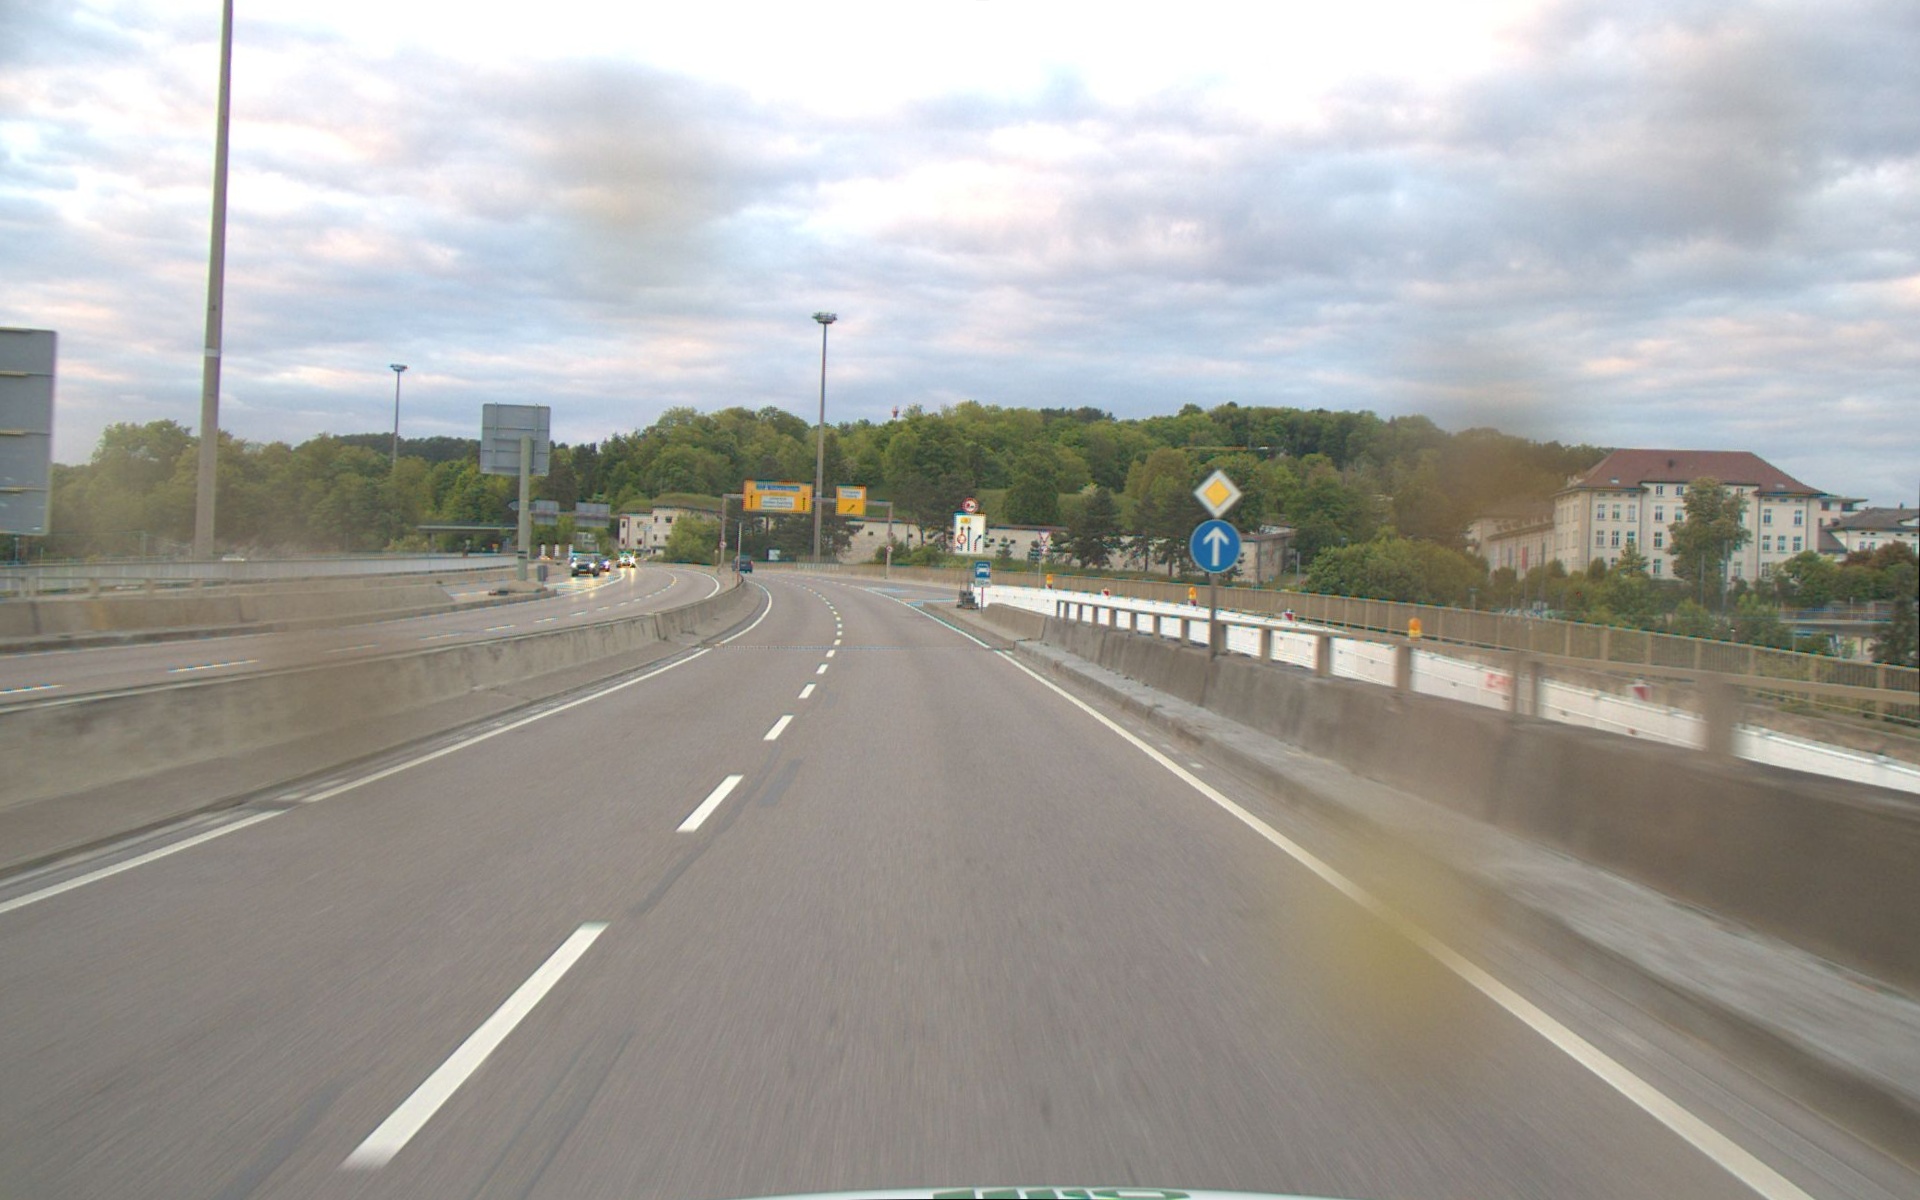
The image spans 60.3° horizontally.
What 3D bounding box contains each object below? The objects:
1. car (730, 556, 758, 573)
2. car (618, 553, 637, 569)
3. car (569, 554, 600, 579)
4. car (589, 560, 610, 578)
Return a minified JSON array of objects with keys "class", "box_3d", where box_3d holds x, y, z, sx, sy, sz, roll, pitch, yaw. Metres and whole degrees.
[{"class":"car","box_3d":[-23.845,-3.909,182.555,2.268,1.794,4.243,3,1,-17]},{"class":"car","box_3d":[-36.646,-4.305,182.399,1.683,1.520,4.063,3,-1,-16]},{"class":"car","box_3d":[-28.364,-2.533,125.023,1.604,1.747,3.996,-3,1,-5]},{"class":"car","box_3d":[-32.399,-2.794,148.546,1.765,1.512,3.828,1,0,-13]}]
